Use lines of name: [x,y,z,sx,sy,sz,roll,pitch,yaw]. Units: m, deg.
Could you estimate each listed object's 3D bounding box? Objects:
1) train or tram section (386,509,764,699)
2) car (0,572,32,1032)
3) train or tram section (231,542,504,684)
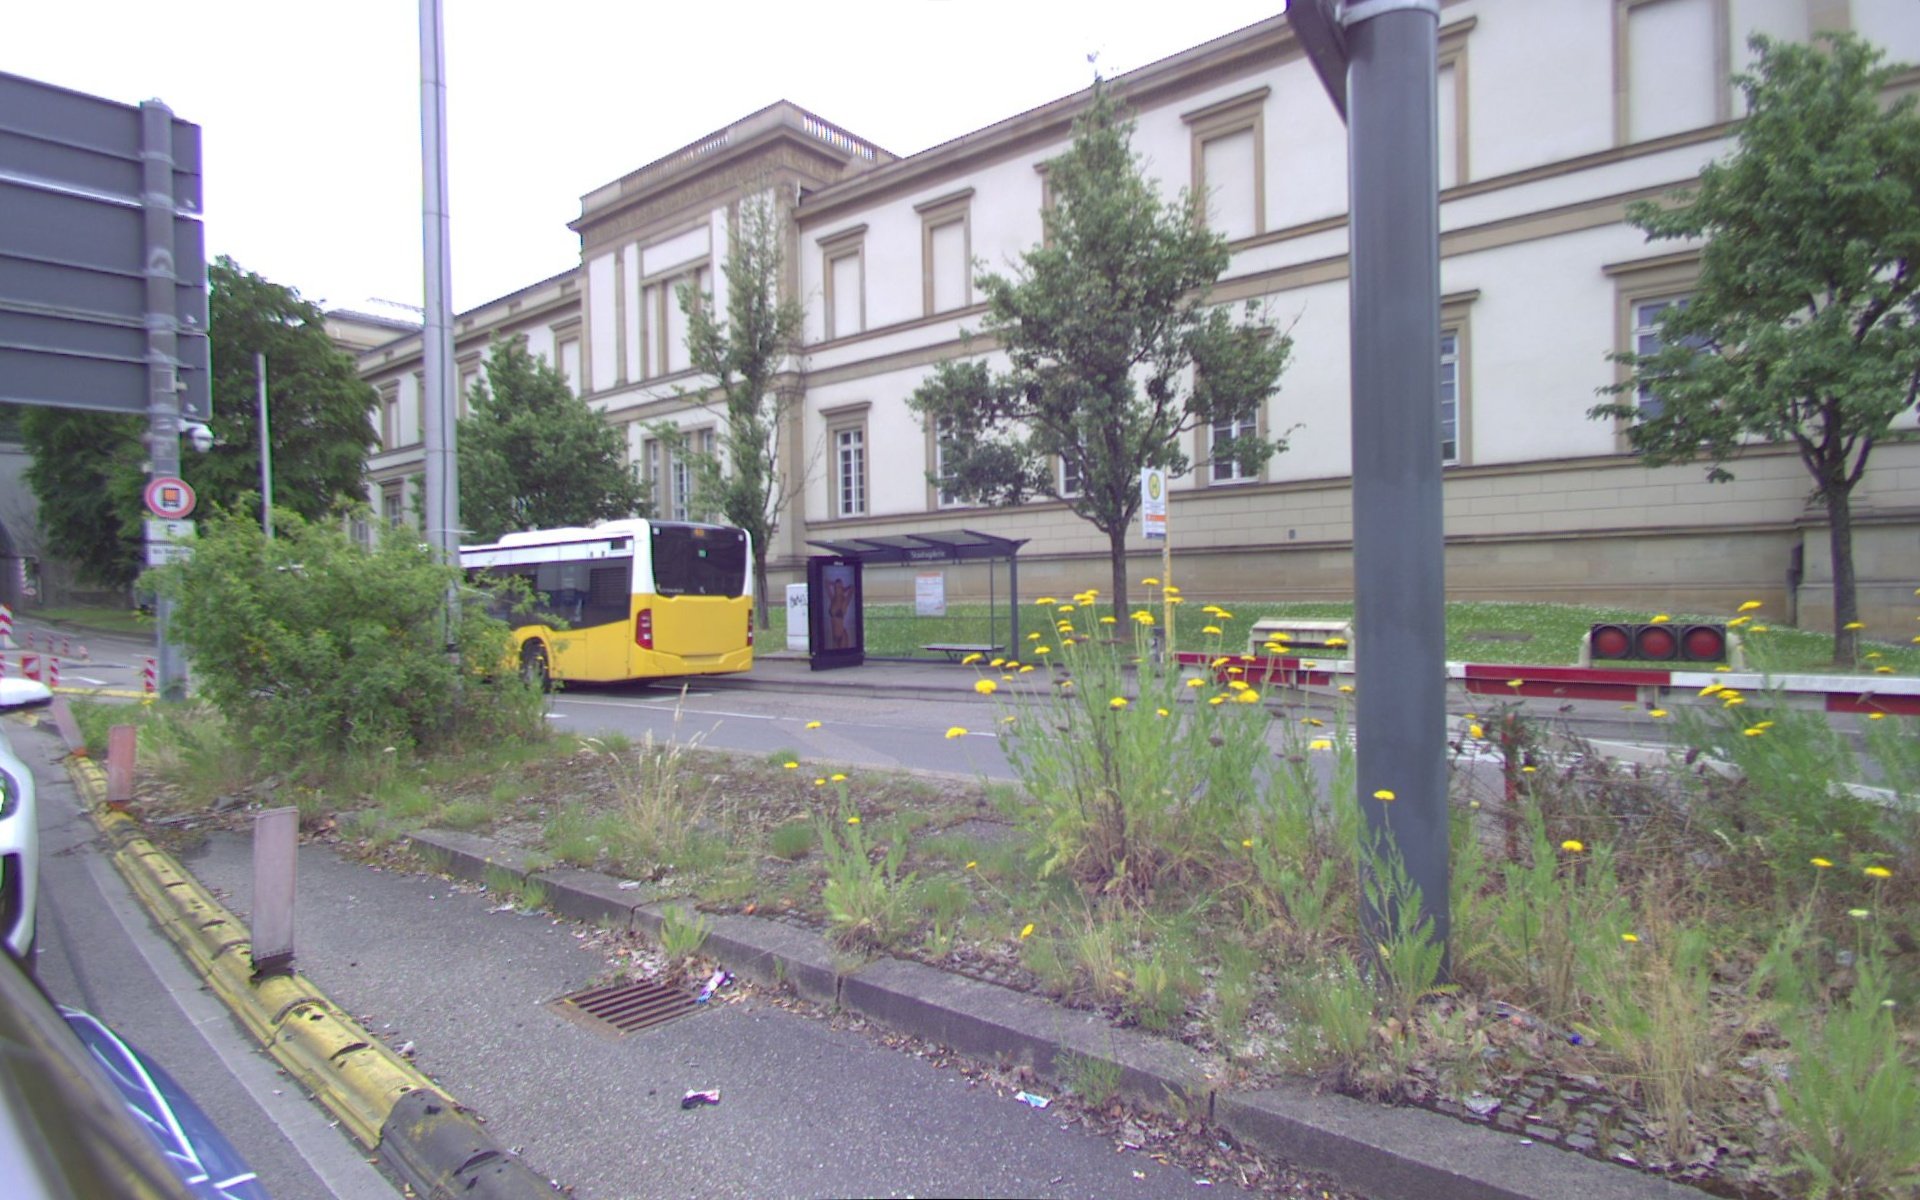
train or tram section: [-8.089,0.178,20.392,9.322,3.094,2.668,-1,-2,38]
car: [-5.235,0.714,4.206,3.911,1.568,1.733,-1,0,43]
train or tram section: [-15.489,0.393,26.053,9.360,3.094,2.669,-1,-2,37]
